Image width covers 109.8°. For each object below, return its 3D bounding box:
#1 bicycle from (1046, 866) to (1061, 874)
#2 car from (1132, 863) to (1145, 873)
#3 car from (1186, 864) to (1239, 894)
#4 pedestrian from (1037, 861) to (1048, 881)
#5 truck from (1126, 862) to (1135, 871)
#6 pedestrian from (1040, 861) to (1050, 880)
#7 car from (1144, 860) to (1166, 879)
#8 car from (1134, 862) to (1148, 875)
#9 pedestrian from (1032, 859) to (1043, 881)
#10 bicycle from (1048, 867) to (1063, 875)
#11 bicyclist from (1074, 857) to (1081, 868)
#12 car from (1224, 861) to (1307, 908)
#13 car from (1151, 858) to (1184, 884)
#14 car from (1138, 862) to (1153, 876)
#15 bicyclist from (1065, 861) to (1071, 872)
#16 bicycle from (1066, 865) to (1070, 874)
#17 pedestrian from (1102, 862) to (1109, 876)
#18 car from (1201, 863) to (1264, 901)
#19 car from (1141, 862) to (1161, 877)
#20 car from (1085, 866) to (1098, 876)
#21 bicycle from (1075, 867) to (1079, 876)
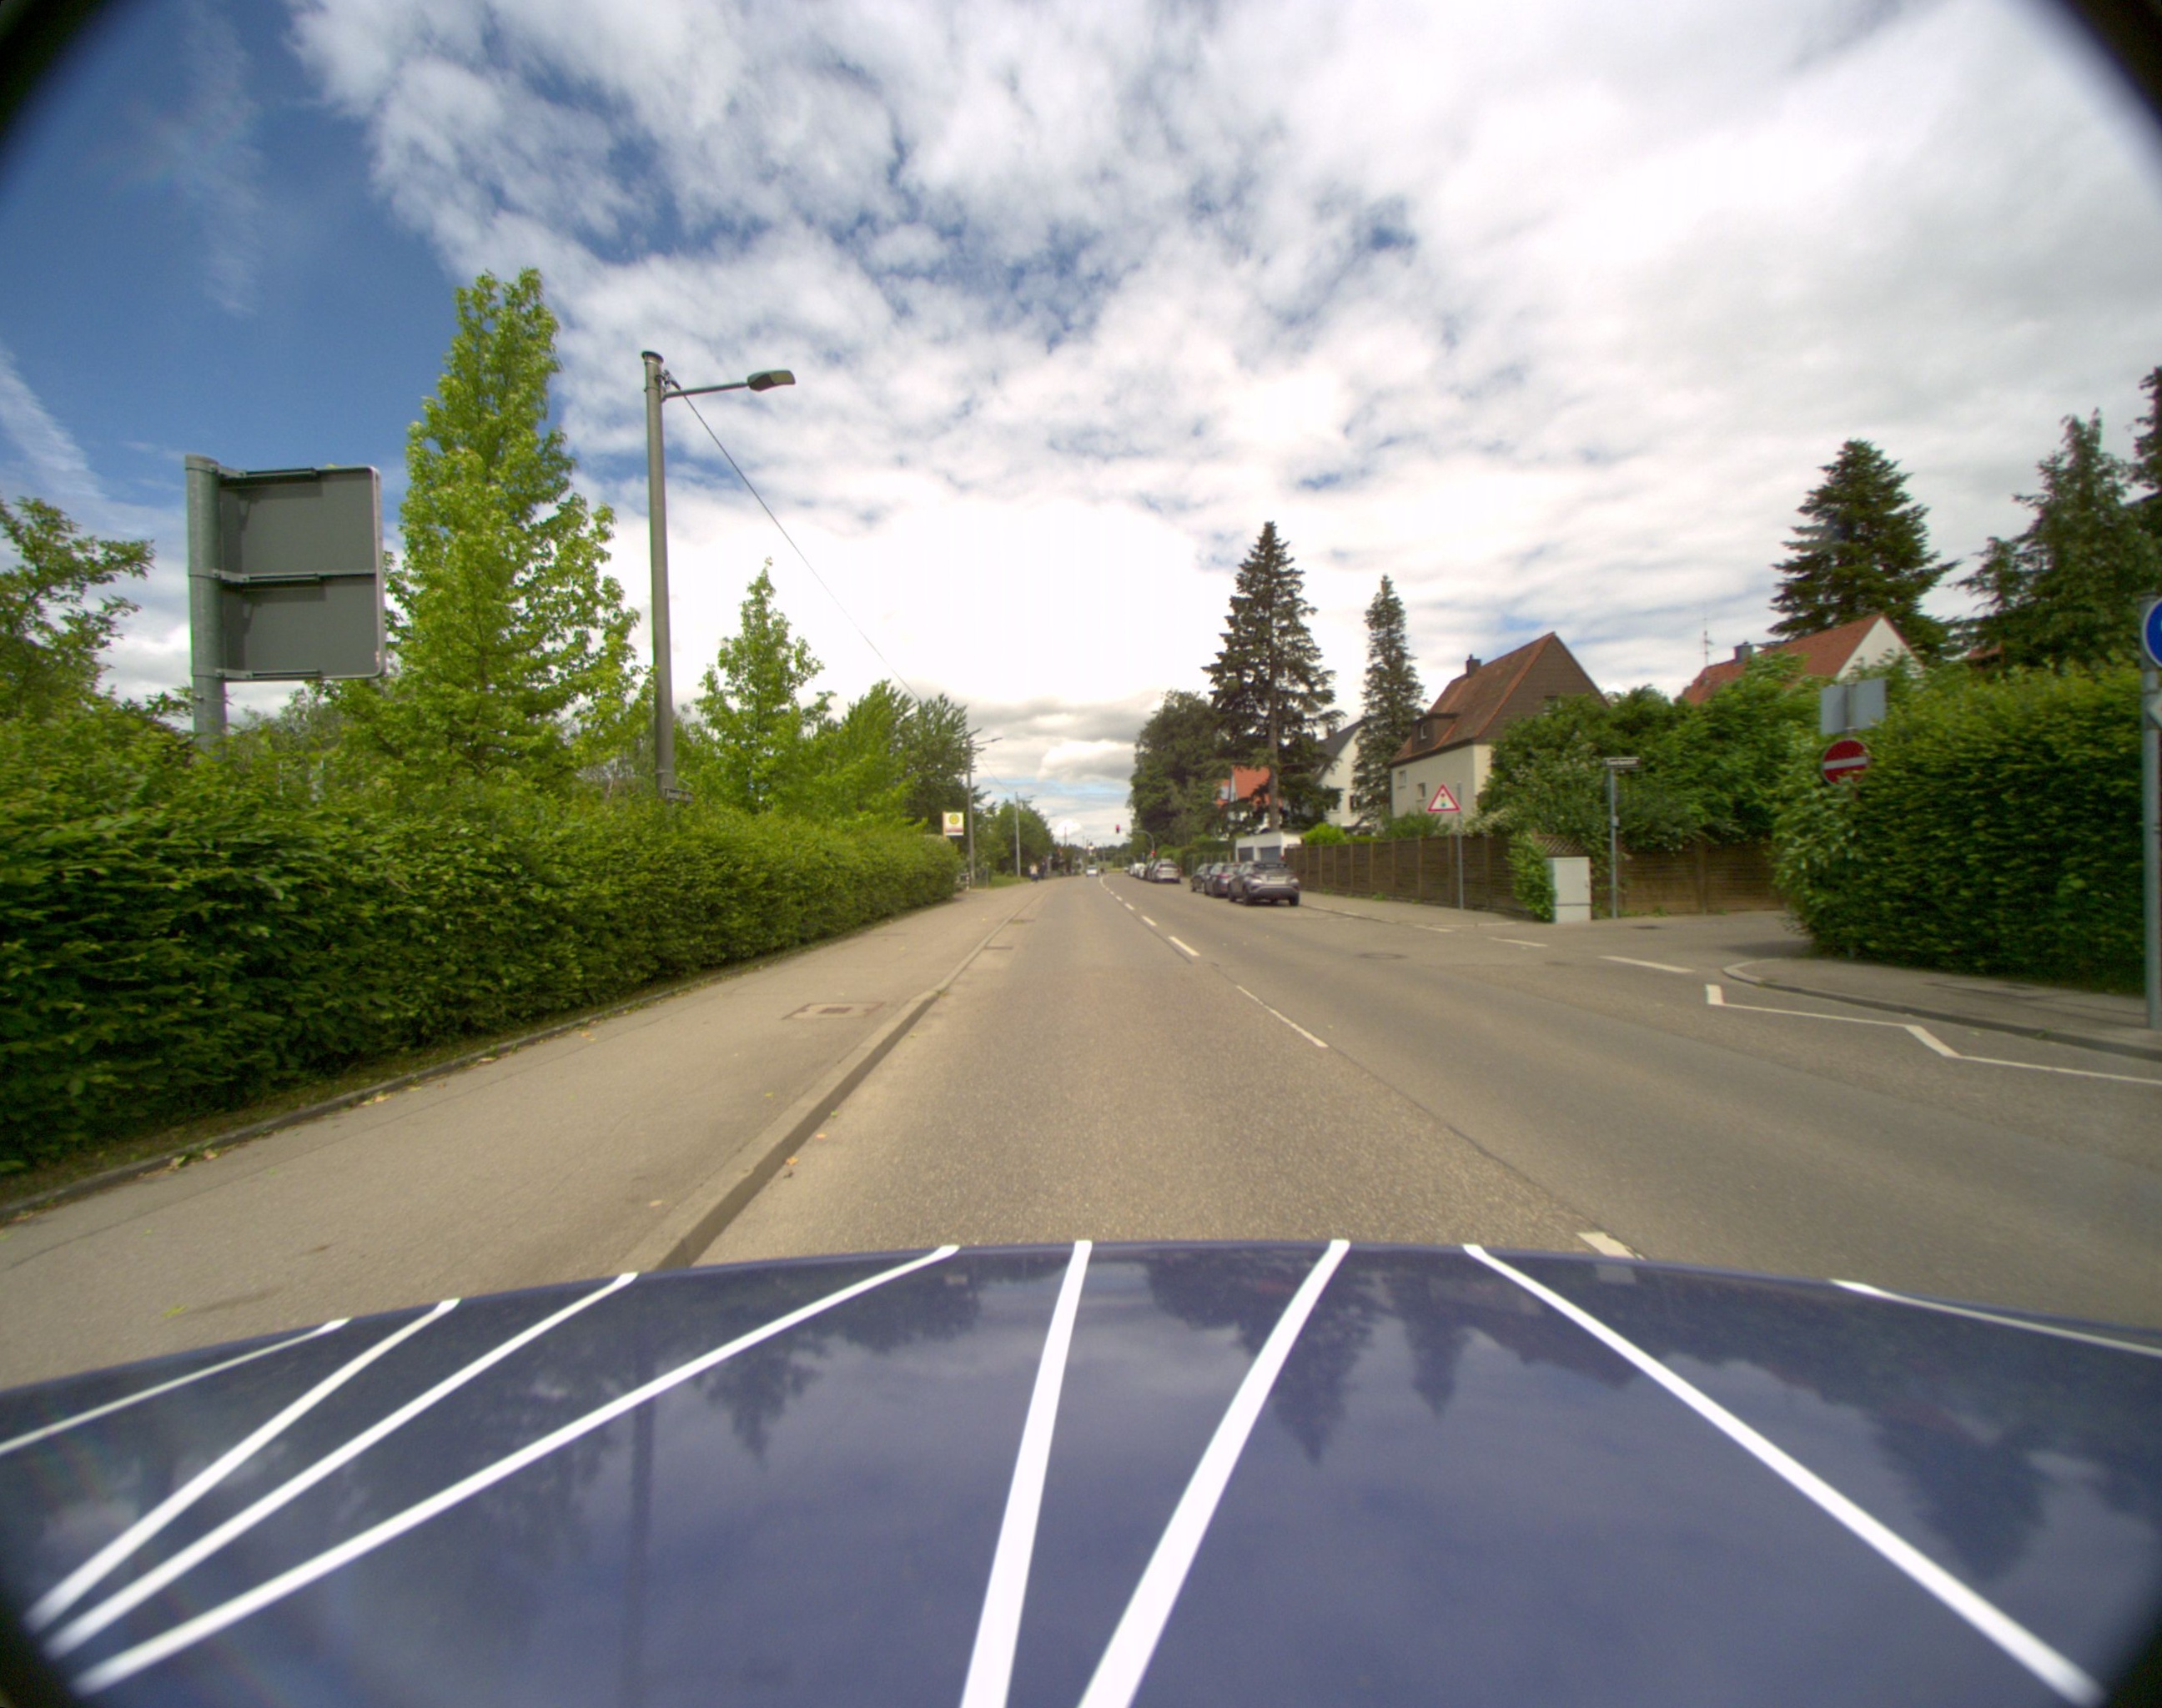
[{"bbox_3d":[-4.002,2.362,110.570,2.093,1.074,0.547,-1,0,5],"label":"bicycle"},{"bbox_3d":[8.222,1.992,108.406,1.708,1.444,4.360,2,-1,6],"label":"car"},{"bbox_3d":[6.391,1.200,37.290,1.656,1.418,3.905,0,-1,-4],"label":"car"},{"bbox_3d":[-3.326,1.488,65.728,0.841,1.649,0.766,-3,0,6],"label":"pedestrian"},{"bbox_3d":[12.718,3.190,196.182,2.194,2.357,6.907,0,-1,3],"label":"truck"},{"bbox_3d":[-3.642,1.678,77.427,0.746,1.871,0.802,-3,0,8],"label":"pedestrian"},{"bbox_3d":[6.790,1.456,70.249,1.630,1.668,4.585,1,-1,1],"label":"car"},{"bbox_3d":[8.150,1.939,103.279,1.680,1.748,4.609,0,-1,2],"label":"car"},{"bbox_3d":[-3.421,1.267,59.853,0.687,1.649,0.690,-3,0,6],"label":"pedestrian"},{"bbox_3d":[-3.798,2.442,111.967,2.093,1.041,0.559,-4,0,5],"label":"bicycle"},{"bbox_3d":[-0.487,1.195,107.815,0.826,1.529,0.862,-3,0,0],"label":"bicyclist"},{"bbox_3d":[6.386,1.011,26.855,1.998,1.470,4.648,0,0,3],"label":"car"},{"bbox_3d":[6.518,1.270,57.809,1.990,1.808,4.708,-1,-1,1],"label":"car"},{"bbox_3d":[7.482,1.724,88.050,1.706,1.534,3.744,0,-1,4],"label":"car"},{"bbox_3d":[-1.793,1.762,107.013,0.826,1.529,0.862,-1,-1,2],"label":"bicyclist"},{"bbox_3d":[-1.804,2.178,107.148,0.451,1.142,2.208,-1,0,2],"label":"bicycle"},{"bbox_3d":[3.078,1.871,95.675,0.649,1.654,0.708,-3,0,7],"label":"pedestrian"},{"bbox_3d":[6.360,1.140,32.374,1.871,1.450,4.489,-1,0,2],"label":"car"},{"bbox_3d":[7.031,1.541,76.899,1.809,1.450,5.071,0,-1,3],"label":"car"},{"bbox_3d":[1.471,2.409,108.447,1.665,1.394,3.901,-1,-1,3],"label":"car"},{"bbox_3d":[-0.626,2.495,107.481,0.451,1.278,2.208,-3,0,-1],"label":"bicycle"}]
